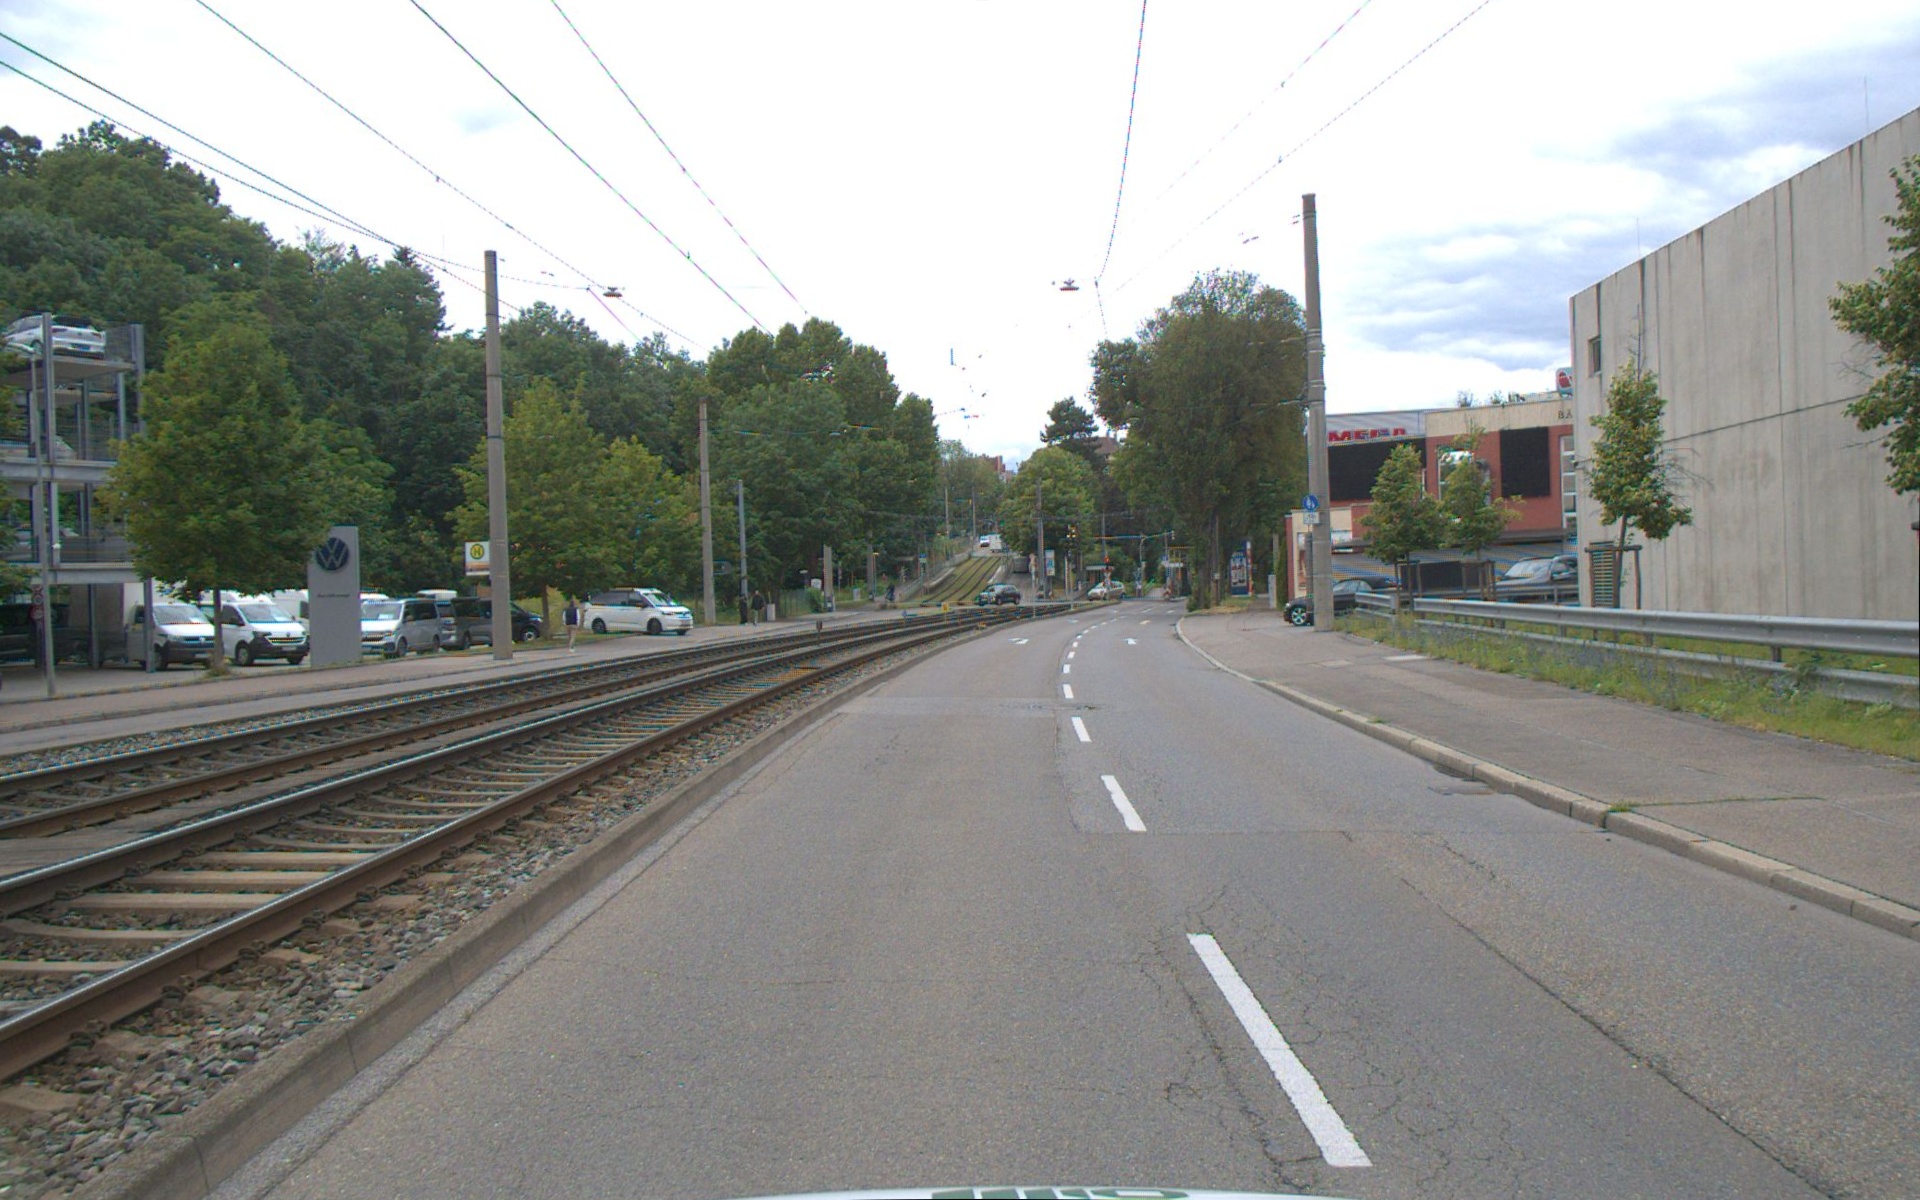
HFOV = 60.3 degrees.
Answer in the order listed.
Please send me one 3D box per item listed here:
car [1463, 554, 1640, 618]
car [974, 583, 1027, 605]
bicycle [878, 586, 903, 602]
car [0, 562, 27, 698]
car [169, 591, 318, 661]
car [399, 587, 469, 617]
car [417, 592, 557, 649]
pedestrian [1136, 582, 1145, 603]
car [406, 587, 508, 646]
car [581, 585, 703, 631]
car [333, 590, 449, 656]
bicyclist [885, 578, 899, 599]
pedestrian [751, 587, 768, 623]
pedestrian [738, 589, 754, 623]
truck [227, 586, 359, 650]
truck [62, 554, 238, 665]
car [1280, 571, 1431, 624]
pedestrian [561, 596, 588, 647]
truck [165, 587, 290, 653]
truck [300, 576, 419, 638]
[{"bbox_3d":[17.077,-0.406,47.786,4.441,1.575,2.148,-3,-1,-21],"label":"car"},{"bbox_3d":[3.099,-0.459,126.431,1.661,1.559,4.233,-6,-3,40],"label":"car"},{"bbox_3d":[-6.431,-0.550,152.073,0.817,1.367,2.960,-2,0,-34],"label":"bicycle"},{"bbox_3d":[-22.929,0.740,35.290,2.063,3.072,5.941,-2,0,7],"label":"car"},{"bbox_3d":[-22.611,0.829,52.144,4.630,2.049,1.995,-2,0,32],"label":"car"},{"bbox_3d":[-37.265,0.120,117.267,1.960,2.049,4.387,-1,0,36],"label":"car"},{"bbox_3d":[-19.034,0.793,66.582,5.008,2.049,2.142,-2,0,-33],"label":"car"},{"bbox_3d":[16.695,-0.693,152.600,0.752,1.885,0.911,-2,-1,8],"label":"pedestrian"},{"bbox_3d":[-18.790,0.587,62.018,1.952,2.049,5.132,-2,0,3],"label":"car"},{"bbox_3d":[-13.663,0.325,70.915,4.962,1.921,2.162,0,0,31],"label":"car"},{"bbox_3d":[-19.160,0.719,55.951,1.952,2.049,4.921,-2,0,3],"label":"car"},{"bbox_3d":[-6.283,-1.095,151.814,0.814,1.881,1.039,-2,0,-34],"label":"bicyclist"},{"bbox_3d":[-10.284,0.255,85.007,0.662,1.845,0.856,0,0,7],"label":"pedestrian"},{"bbox_3d":[-10.986,0.292,85.046,0.614,1.743,0.856,0,0,7],"label":"pedestrian"},{"bbox_3d":[-29.958,0.814,74.281,5.651,2.633,2.464,-2,0,30],"label":"truck"},{"bbox_3d":[-24.452,0.317,49.850,5.816,3.138,2.113,-2,0,34],"label":"truck"},{"bbox_3d":[12.162,-0.080,50.892,4.145,1.468,1.758,-2,0,33],"label":"car"},{"bbox_3d":[-12.937,0.704,55.546,0.703,1.684,1.042,0,0,-3],"label":"pedestrian"},{"bbox_3d":[-31.756,0.880,71.708,4.961,2.633,2.464,-2,0,30],"label":"truck"},{"bbox_3d":[-27.685,0.334,76.264,4.961,2.633,2.464,-2,0,30],"label":"truck"}]
